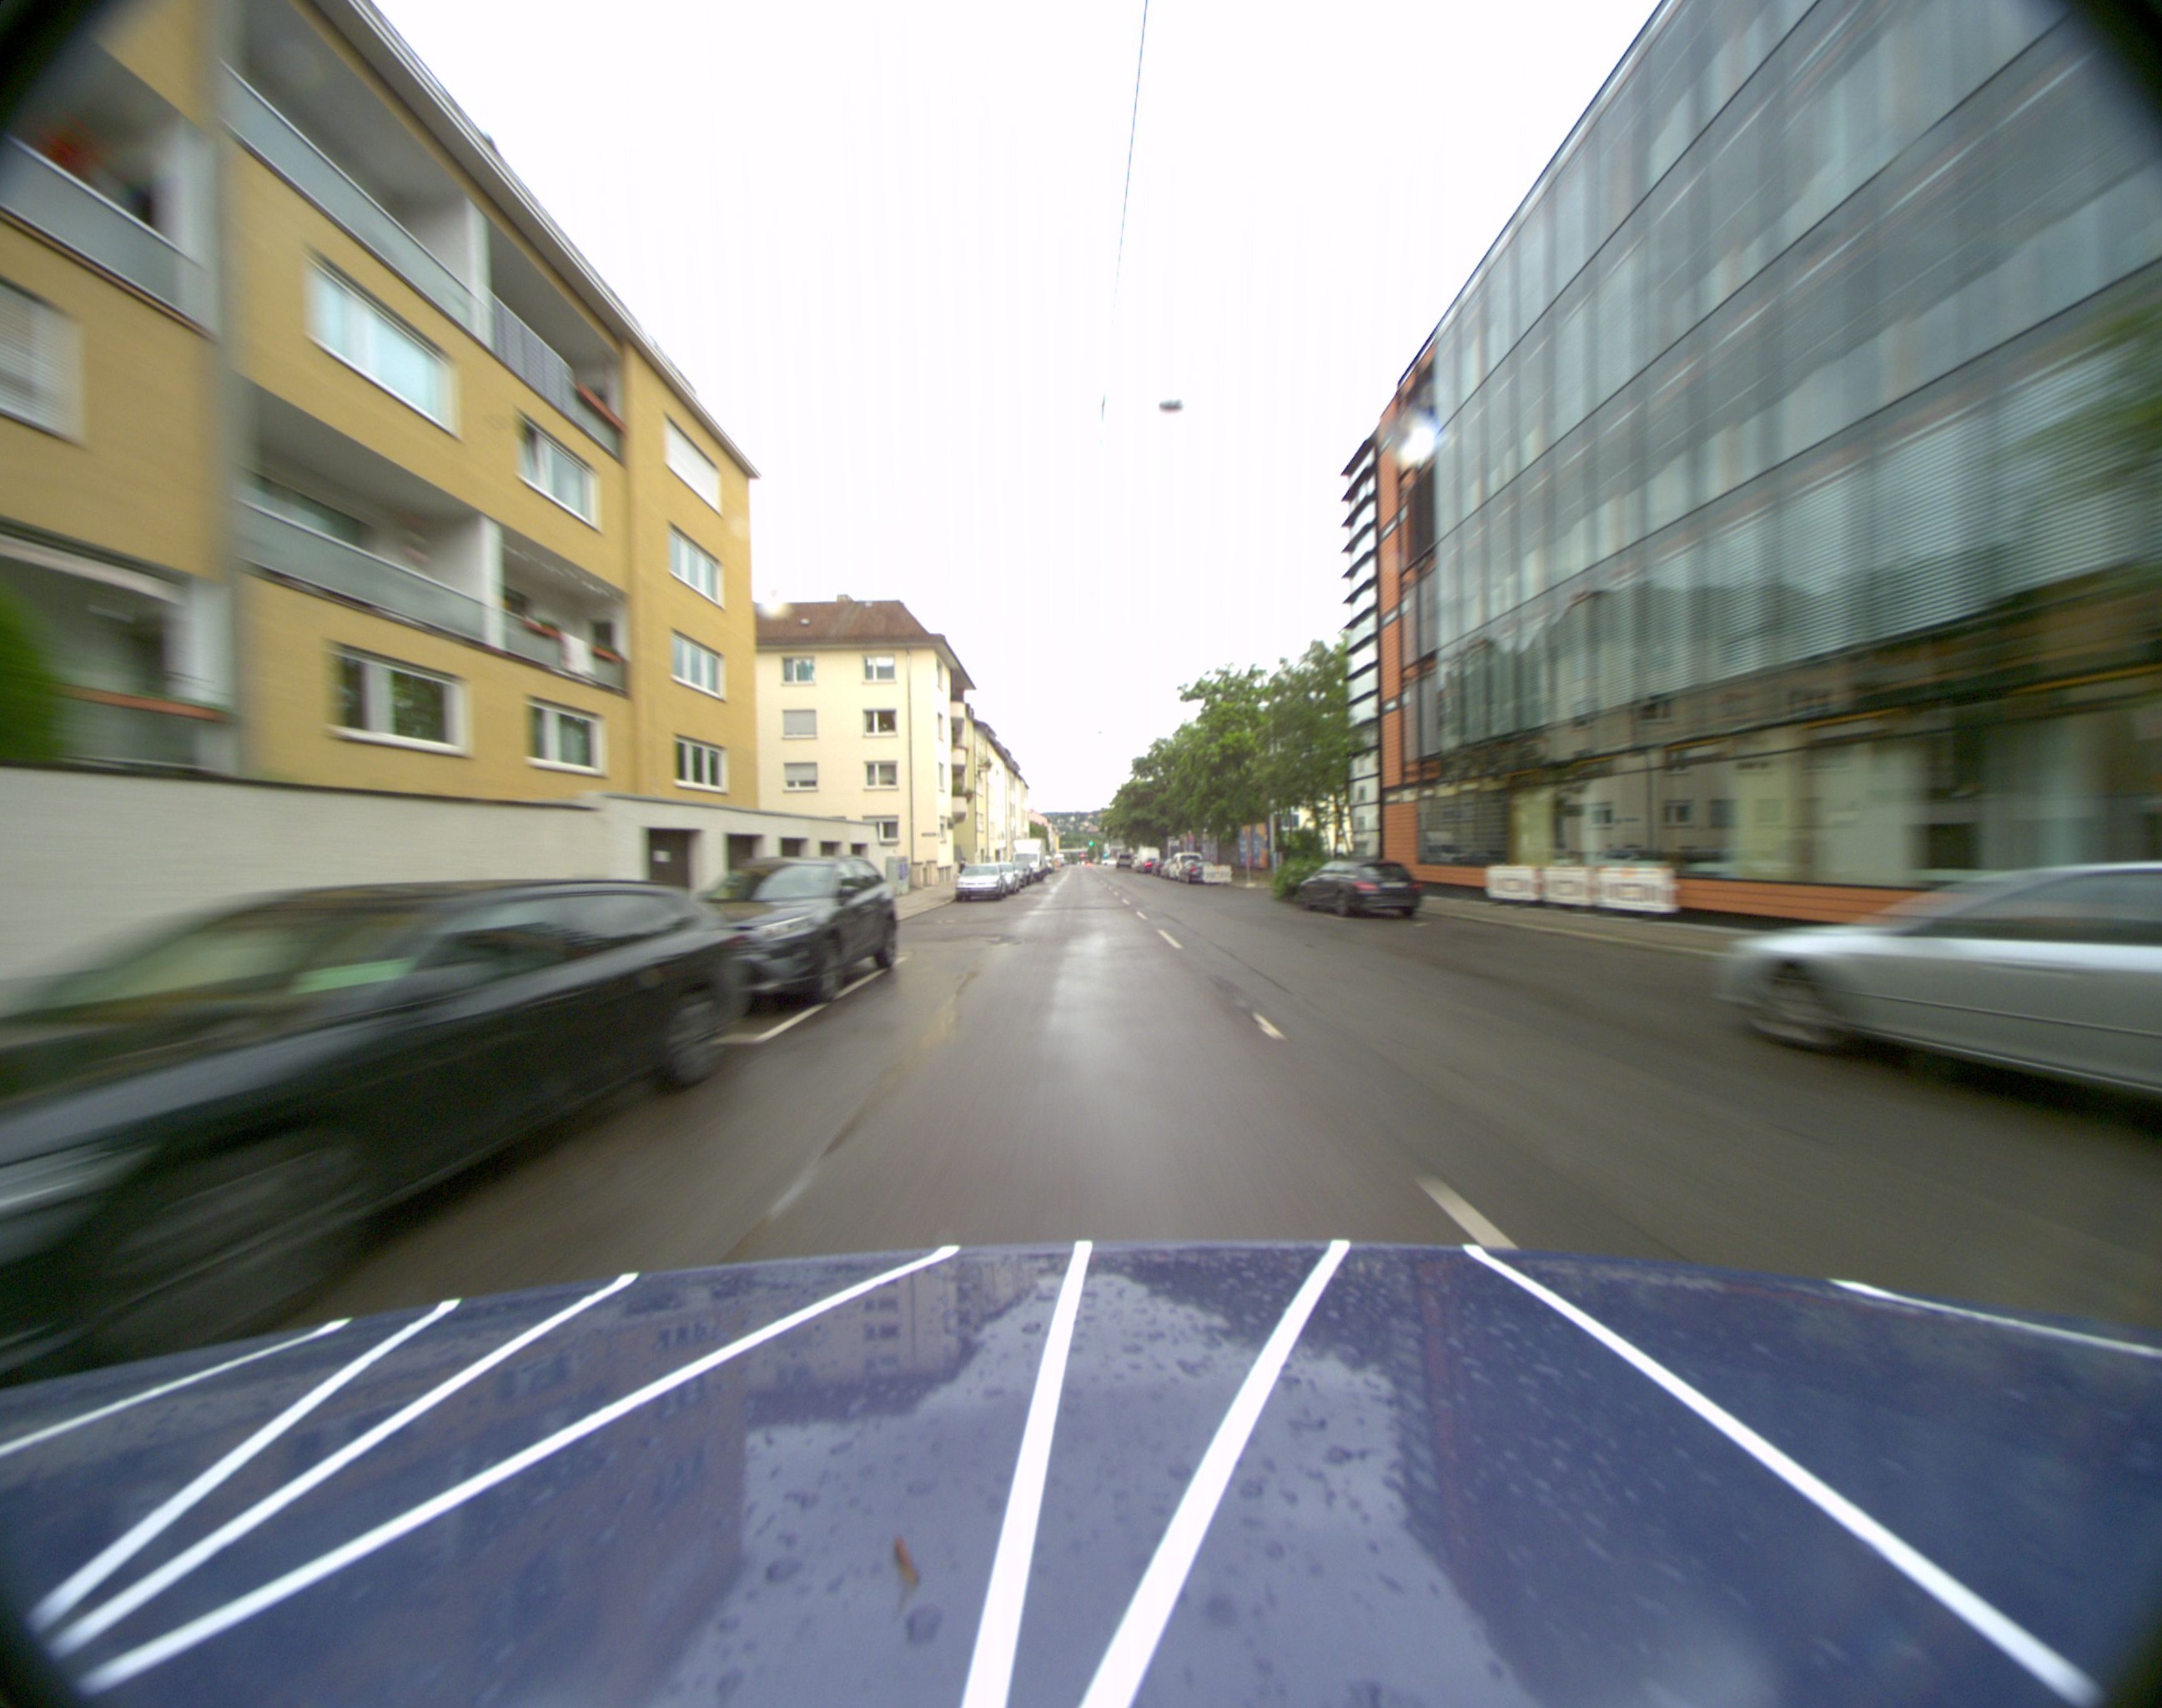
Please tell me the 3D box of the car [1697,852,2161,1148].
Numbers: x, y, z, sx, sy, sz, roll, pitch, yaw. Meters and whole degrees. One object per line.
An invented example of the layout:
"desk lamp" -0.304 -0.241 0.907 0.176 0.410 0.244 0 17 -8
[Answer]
"car" 6.108 0.705 4.029 1.863 1.386 4.644 -1 1 -1

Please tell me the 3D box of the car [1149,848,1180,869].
"car" 6.573 0.341 60.243 1.881 1.456 3.516 -1 2 -3

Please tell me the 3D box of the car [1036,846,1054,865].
"car" -3.969 0.136 83.769 1.740 1.997 4.195 -2 1 0

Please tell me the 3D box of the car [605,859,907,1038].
"car" -3.623 0.916 9.540 1.806 1.637 4.575 -2 0 0

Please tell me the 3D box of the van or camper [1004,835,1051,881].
"van or camper" -3.816 0.179 55.684 2.754 3.041 7.028 -2 2 1

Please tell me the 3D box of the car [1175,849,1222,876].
"car" 6.733 0.465 43.895 1.881 1.390 3.998 -1 2 -3

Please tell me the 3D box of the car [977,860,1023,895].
"car" -3.706 1.050 35.395 1.740 1.370 3.969 -2 2 0

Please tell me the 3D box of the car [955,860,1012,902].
"car" -3.792 1.001 30.005 1.740 1.370 3.837 -2 2 0

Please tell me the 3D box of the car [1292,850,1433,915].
"car" 7.012 0.631 19.422 1.727 1.455 4.328 0 0 -4

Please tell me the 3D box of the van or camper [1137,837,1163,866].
"van or camper" 6.779 -0.288 75.466 2.143 2.588 5.548 -2 2 1

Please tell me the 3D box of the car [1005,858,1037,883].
"car" -3.740 1.007 47.811 1.740 1.423 3.504 -2 1 0

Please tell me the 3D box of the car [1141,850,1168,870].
"car" 6.666 0.510 69.252 1.999 1.566 3.998 -2 2 -1

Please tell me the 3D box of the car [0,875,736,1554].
"car" -3.609 0.966 3.562 1.916 1.418 4.449 -2 2 0

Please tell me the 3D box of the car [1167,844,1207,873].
"car" 6.789 0.270 49.032 1.881 1.700 3.998 -1 2 -3

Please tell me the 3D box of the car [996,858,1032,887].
"car" -3.778 1.028 43.170 1.740 1.423 3.504 -2 1 0

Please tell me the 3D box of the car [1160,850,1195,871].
"car" 6.785 0.434 53.760 1.881 1.345 3.828 -1 2 -3
